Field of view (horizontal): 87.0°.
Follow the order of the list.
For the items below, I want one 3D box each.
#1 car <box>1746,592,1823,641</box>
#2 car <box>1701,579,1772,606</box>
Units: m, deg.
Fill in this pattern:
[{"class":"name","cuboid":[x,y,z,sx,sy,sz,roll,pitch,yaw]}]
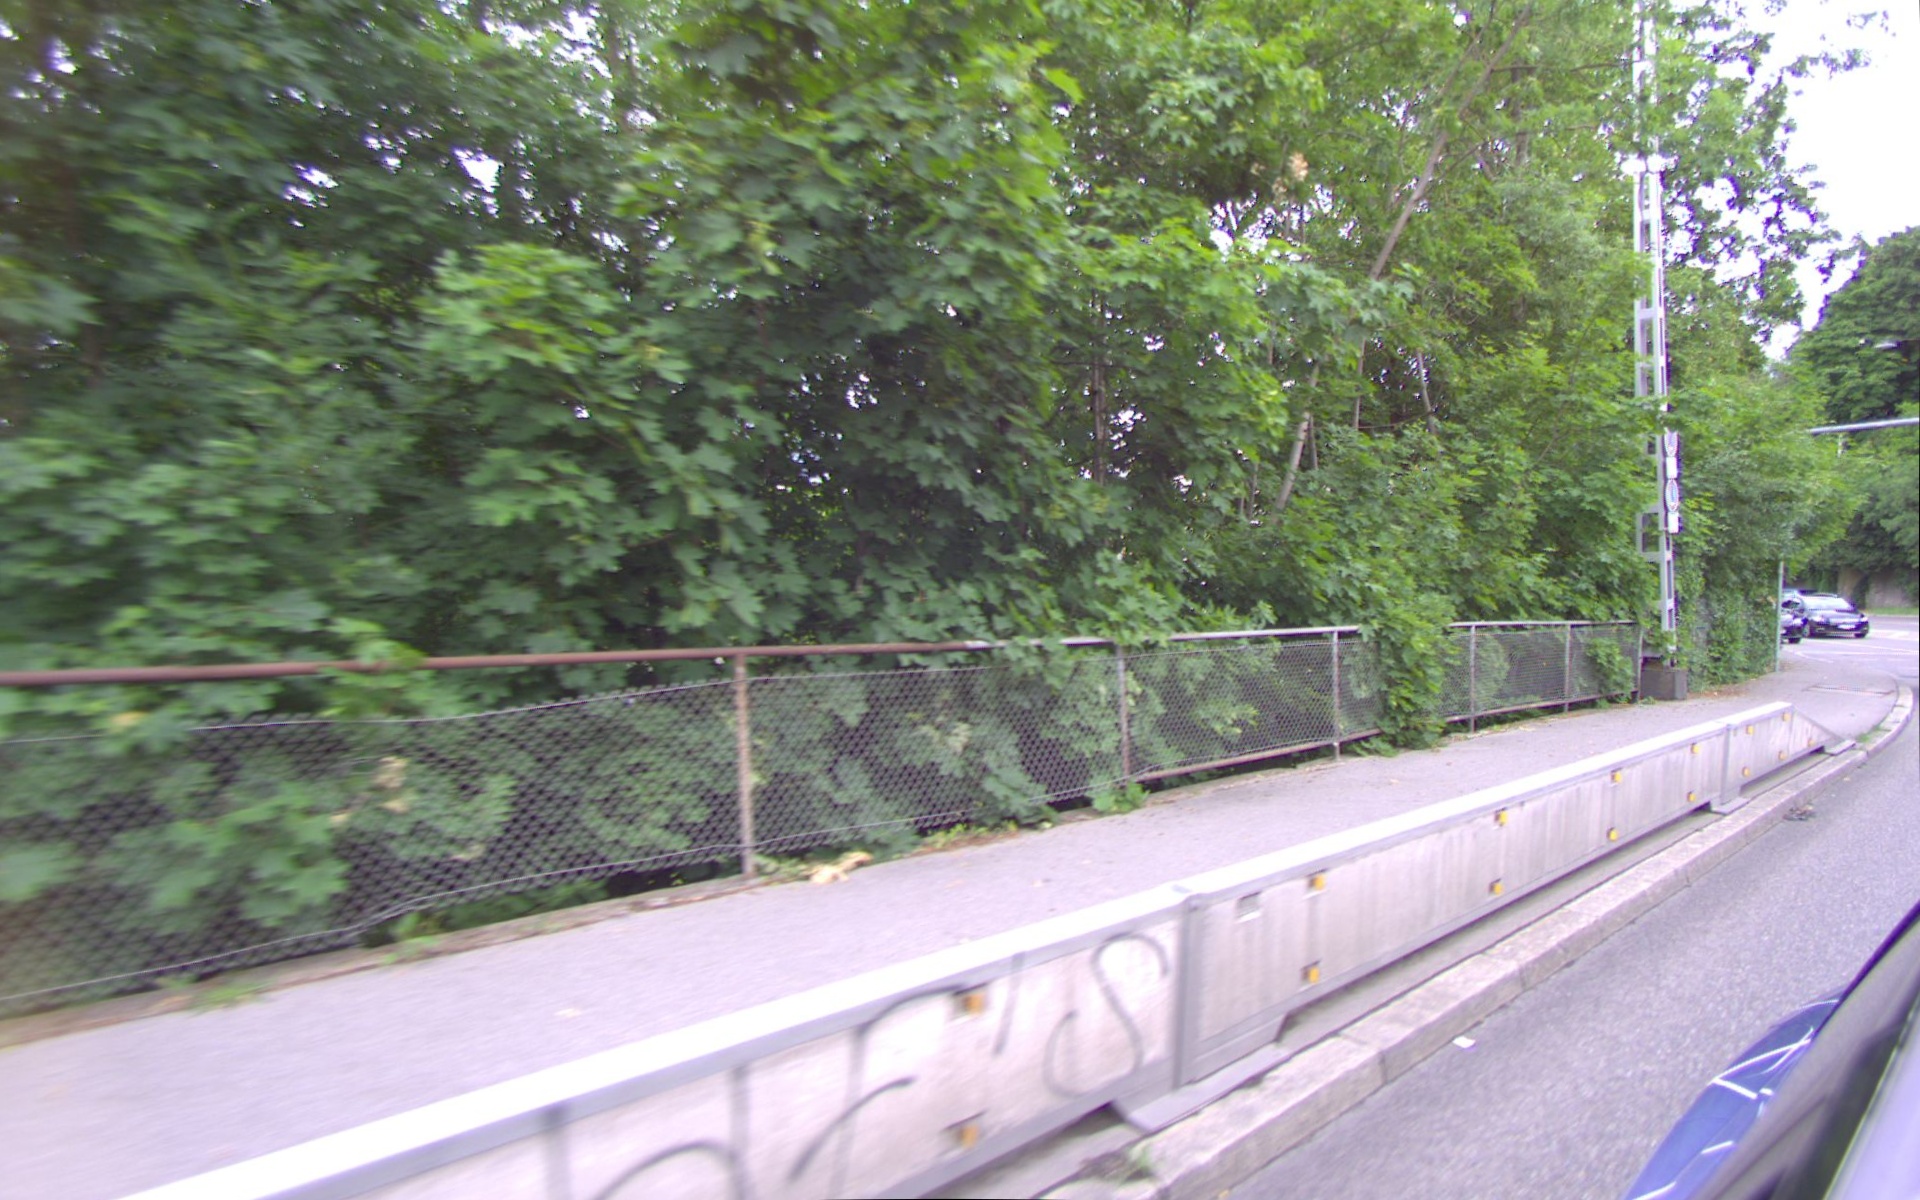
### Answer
[{"class":"car","cuboid":[29.105,0.547,35.803,1.767,1.561,3.950,-2,0,35]},{"class":"car","cuboid":[48.551,-0.481,63.379,1.861,1.587,4.370,-1,1,14]}]
